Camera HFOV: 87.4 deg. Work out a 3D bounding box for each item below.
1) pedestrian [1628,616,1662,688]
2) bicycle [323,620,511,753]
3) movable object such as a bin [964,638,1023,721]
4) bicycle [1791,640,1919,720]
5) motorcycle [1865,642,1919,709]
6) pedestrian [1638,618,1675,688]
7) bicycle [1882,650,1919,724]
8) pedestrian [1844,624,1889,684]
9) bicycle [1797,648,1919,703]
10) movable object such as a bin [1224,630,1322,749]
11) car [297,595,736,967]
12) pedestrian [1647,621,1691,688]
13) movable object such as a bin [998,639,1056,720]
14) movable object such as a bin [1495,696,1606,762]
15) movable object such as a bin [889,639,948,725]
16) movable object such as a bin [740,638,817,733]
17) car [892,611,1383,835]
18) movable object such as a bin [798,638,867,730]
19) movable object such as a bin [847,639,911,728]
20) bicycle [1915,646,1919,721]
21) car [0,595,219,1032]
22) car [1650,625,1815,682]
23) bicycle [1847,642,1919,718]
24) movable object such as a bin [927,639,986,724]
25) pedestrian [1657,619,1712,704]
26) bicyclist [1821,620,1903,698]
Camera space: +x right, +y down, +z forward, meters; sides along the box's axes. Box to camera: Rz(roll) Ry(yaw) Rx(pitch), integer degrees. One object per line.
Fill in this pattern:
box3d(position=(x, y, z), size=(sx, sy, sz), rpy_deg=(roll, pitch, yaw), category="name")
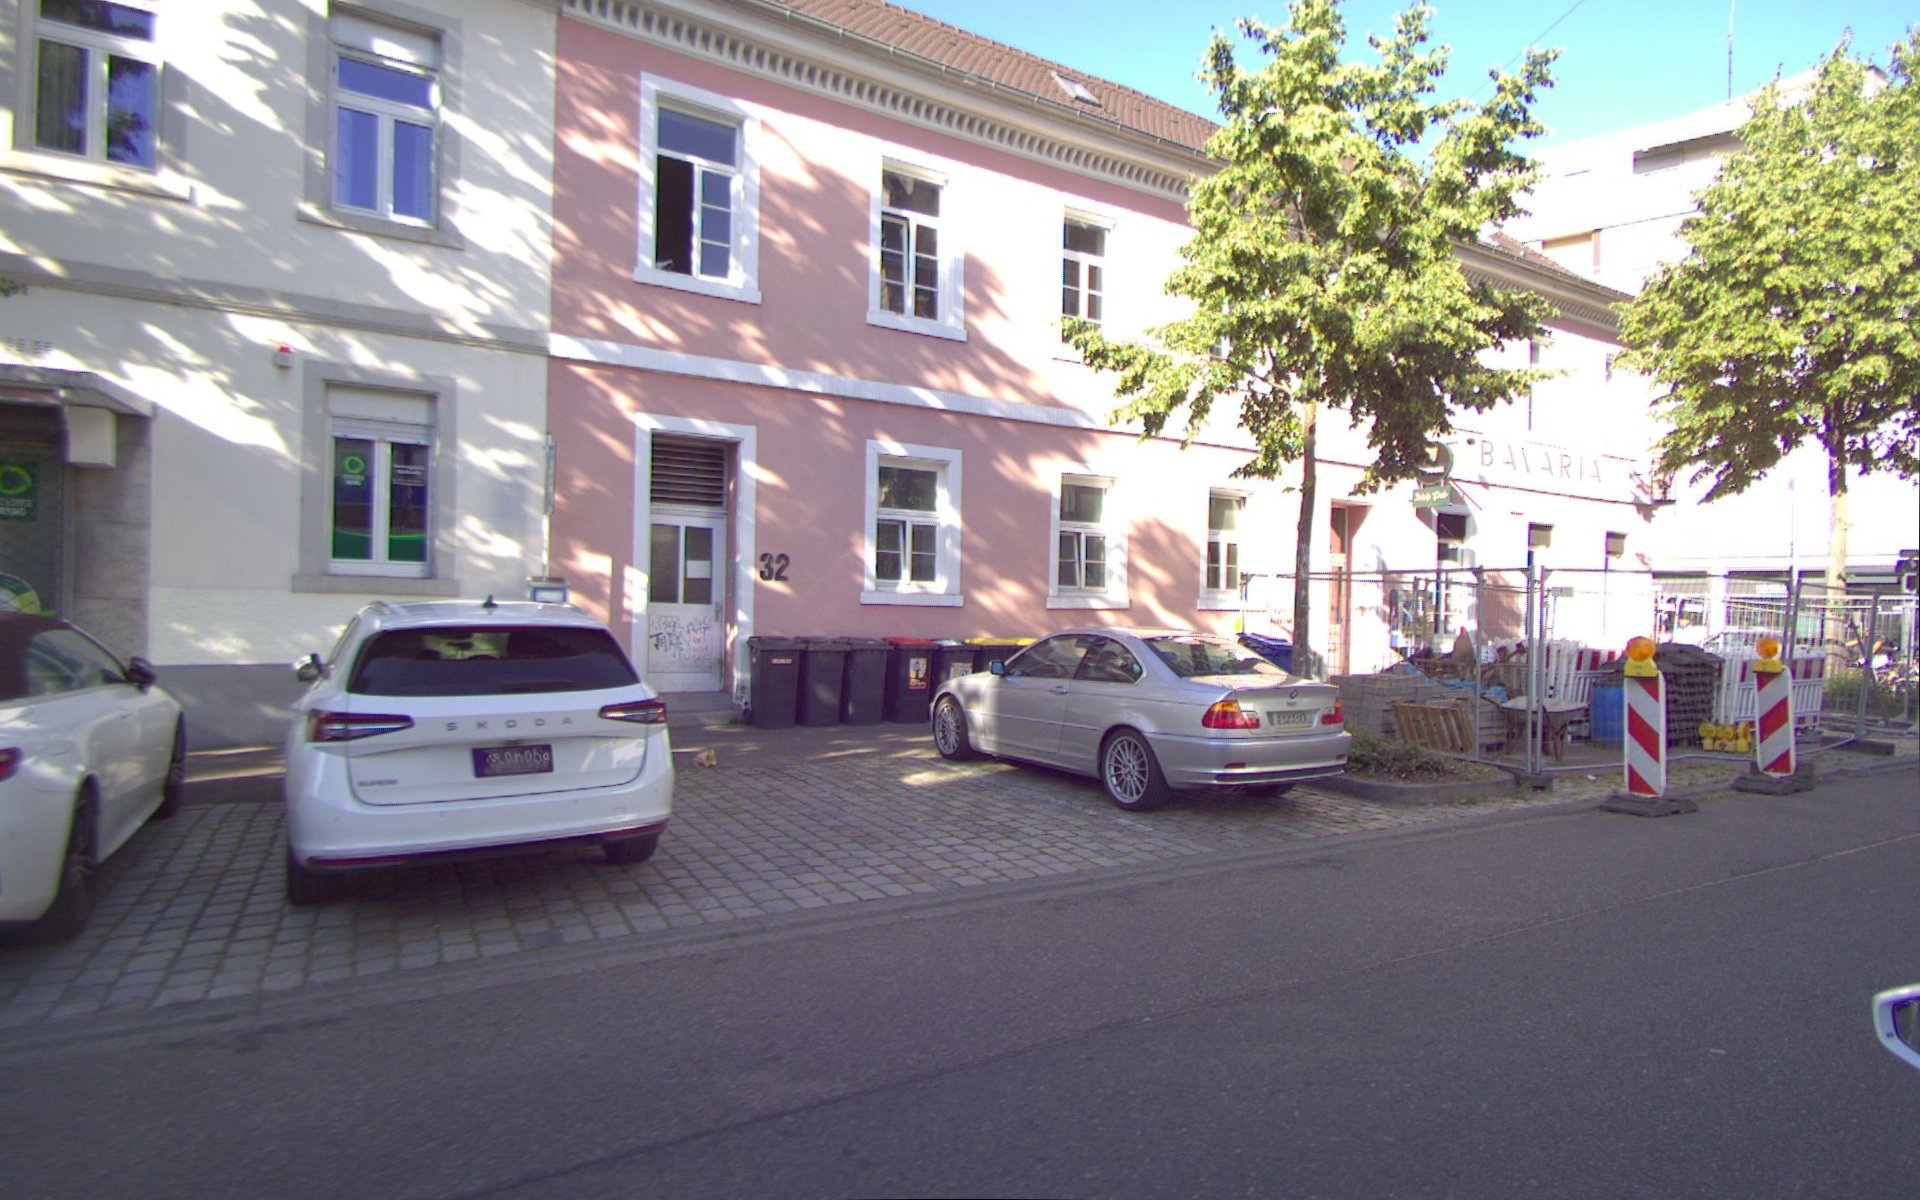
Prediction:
box3d(position=(17.438, 1.307, 25.575), size=(0.646, 1.783, 0.654), rpy_deg=(0, -1, 42), category="pedestrian")
box3d(position=(-5.458, 0.843, 10.151), size=(1.610, 1.261, 0.501), rpy_deg=(1, -1, -31), category="bicycle")
box3d(position=(0.445, 1.055, 13.498), size=(0.538, 1.074, 0.629), rpy_deg=(1, -1, -29), category="movable object such as a bin")
box3d(position=(16.111, 1.399, 18.018), size=(0.591, 1.269, 1.786), rpy_deg=(1, 0, -18), category="bicycle")
box3d(position=(18.906, 1.494, 19.550), size=(0.751, 1.246, 1.836), rpy_deg=(1, 0, -41), category="motorcycle")
box3d(position=(18.174, 1.360, 26.210), size=(0.651, 1.783, 0.649), rpy_deg=(1, -1, -38), category="pedestrian")
box3d(position=(16.418, 1.466, 16.451), size=(0.595, 1.186, 1.841), rpy_deg=(1, 0, -37), category="bicycle")
box3d(position=(25.733, 1.516, 28.521), size=(0.681, 1.665, 0.768), rpy_deg=(1, -1, -28), category="pedestrian")
box3d(position=(18.853, 1.573, 21.044), size=(1.916, 1.073, 0.769), rpy_deg=(1, -1, 5), category="bicycle")
box3d(position=(3.358, 0.931, 10.780), size=(0.739, 1.202, 0.725), rpy_deg=(2, -1, -39), category="movable object such as a bin")
box3d(position=(-3.051, 0.742, 6.523), size=(1.787, 1.484, 4.658), rpy_deg=(2, 0, -30), category="car")
box3d(position=(17.991, 1.372, 25.492), size=(0.646, 1.690, 0.654), rpy_deg=(1, -1, -19), category="pedestrian")
box3d(position=(0.919, 1.076, 13.790), size=(0.538, 1.074, 0.629), rpy_deg=(1, -1, -29), category="movable object such as a bin")
box3d(position=(6.508, 1.400, 11.075), size=(1.065, 0.624, 0.624), rpy_deg=(1, -2, -31), category="movable object such as a bin")
box3d(position=(-0.542, 1.040, 12.949), size=(0.538, 1.074, 0.629), rpy_deg=(1, -1, -29), category="movable object such as a bin")
box3d(position=(-2.170, 0.995, 11.984), size=(0.723, 1.074, 0.693), rpy_deg=(1, -1, -29), category="movable object such as a bin")
box3d(position=(1.268, 0.876, 9.246), size=(1.788, 1.431, 4.654), rpy_deg=(2, 0, -32), category="car")
box3d(position=(-1.572, 1.015, 12.342), size=(0.632, 1.074, 0.693), rpy_deg=(1, -1, -29), category="movable object such as a bin")
box3d(position=(-1.031, 1.028, 12.648), size=(0.567, 1.074, 0.693), rpy_deg=(1, -1, -29), category="movable object such as a bin")
box3d(position=(17.103, 1.449, 16.588), size=(0.595, 1.269, 1.841), rpy_deg=(1, 0, -37), category="bicycle")
box3d(position=(-5.178, 0.733, 5.108), size=(1.787, 1.484, 4.656), rpy_deg=(2, 0, -31), category="car")
box3d(position=(23.857, 1.612, 31.109), size=(3.939, 1.632, 1.991), rpy_deg=(-1, -2, 40), category="car")
box3d(position=(17.133, 1.437, 18.416), size=(0.588, 1.269, 1.794), rpy_deg=(1, 0, 17), category="bicycle")
box3d(position=(-0.047, 1.060, 13.210), size=(0.538, 1.074, 0.629), rpy_deg=(1, -1, -29), category="movable object such as a bin")
box3d(position=(14.719, 1.232, 20.413), size=(0.803, 1.675, 0.608), rpy_deg=(1, -1, -27), category="pedestrian")
box3d(position=(18.865, 1.220, 21.028), size=(1.019, 1.581, 0.769), rpy_deg=(1, -1, 5), category="bicyclist")
